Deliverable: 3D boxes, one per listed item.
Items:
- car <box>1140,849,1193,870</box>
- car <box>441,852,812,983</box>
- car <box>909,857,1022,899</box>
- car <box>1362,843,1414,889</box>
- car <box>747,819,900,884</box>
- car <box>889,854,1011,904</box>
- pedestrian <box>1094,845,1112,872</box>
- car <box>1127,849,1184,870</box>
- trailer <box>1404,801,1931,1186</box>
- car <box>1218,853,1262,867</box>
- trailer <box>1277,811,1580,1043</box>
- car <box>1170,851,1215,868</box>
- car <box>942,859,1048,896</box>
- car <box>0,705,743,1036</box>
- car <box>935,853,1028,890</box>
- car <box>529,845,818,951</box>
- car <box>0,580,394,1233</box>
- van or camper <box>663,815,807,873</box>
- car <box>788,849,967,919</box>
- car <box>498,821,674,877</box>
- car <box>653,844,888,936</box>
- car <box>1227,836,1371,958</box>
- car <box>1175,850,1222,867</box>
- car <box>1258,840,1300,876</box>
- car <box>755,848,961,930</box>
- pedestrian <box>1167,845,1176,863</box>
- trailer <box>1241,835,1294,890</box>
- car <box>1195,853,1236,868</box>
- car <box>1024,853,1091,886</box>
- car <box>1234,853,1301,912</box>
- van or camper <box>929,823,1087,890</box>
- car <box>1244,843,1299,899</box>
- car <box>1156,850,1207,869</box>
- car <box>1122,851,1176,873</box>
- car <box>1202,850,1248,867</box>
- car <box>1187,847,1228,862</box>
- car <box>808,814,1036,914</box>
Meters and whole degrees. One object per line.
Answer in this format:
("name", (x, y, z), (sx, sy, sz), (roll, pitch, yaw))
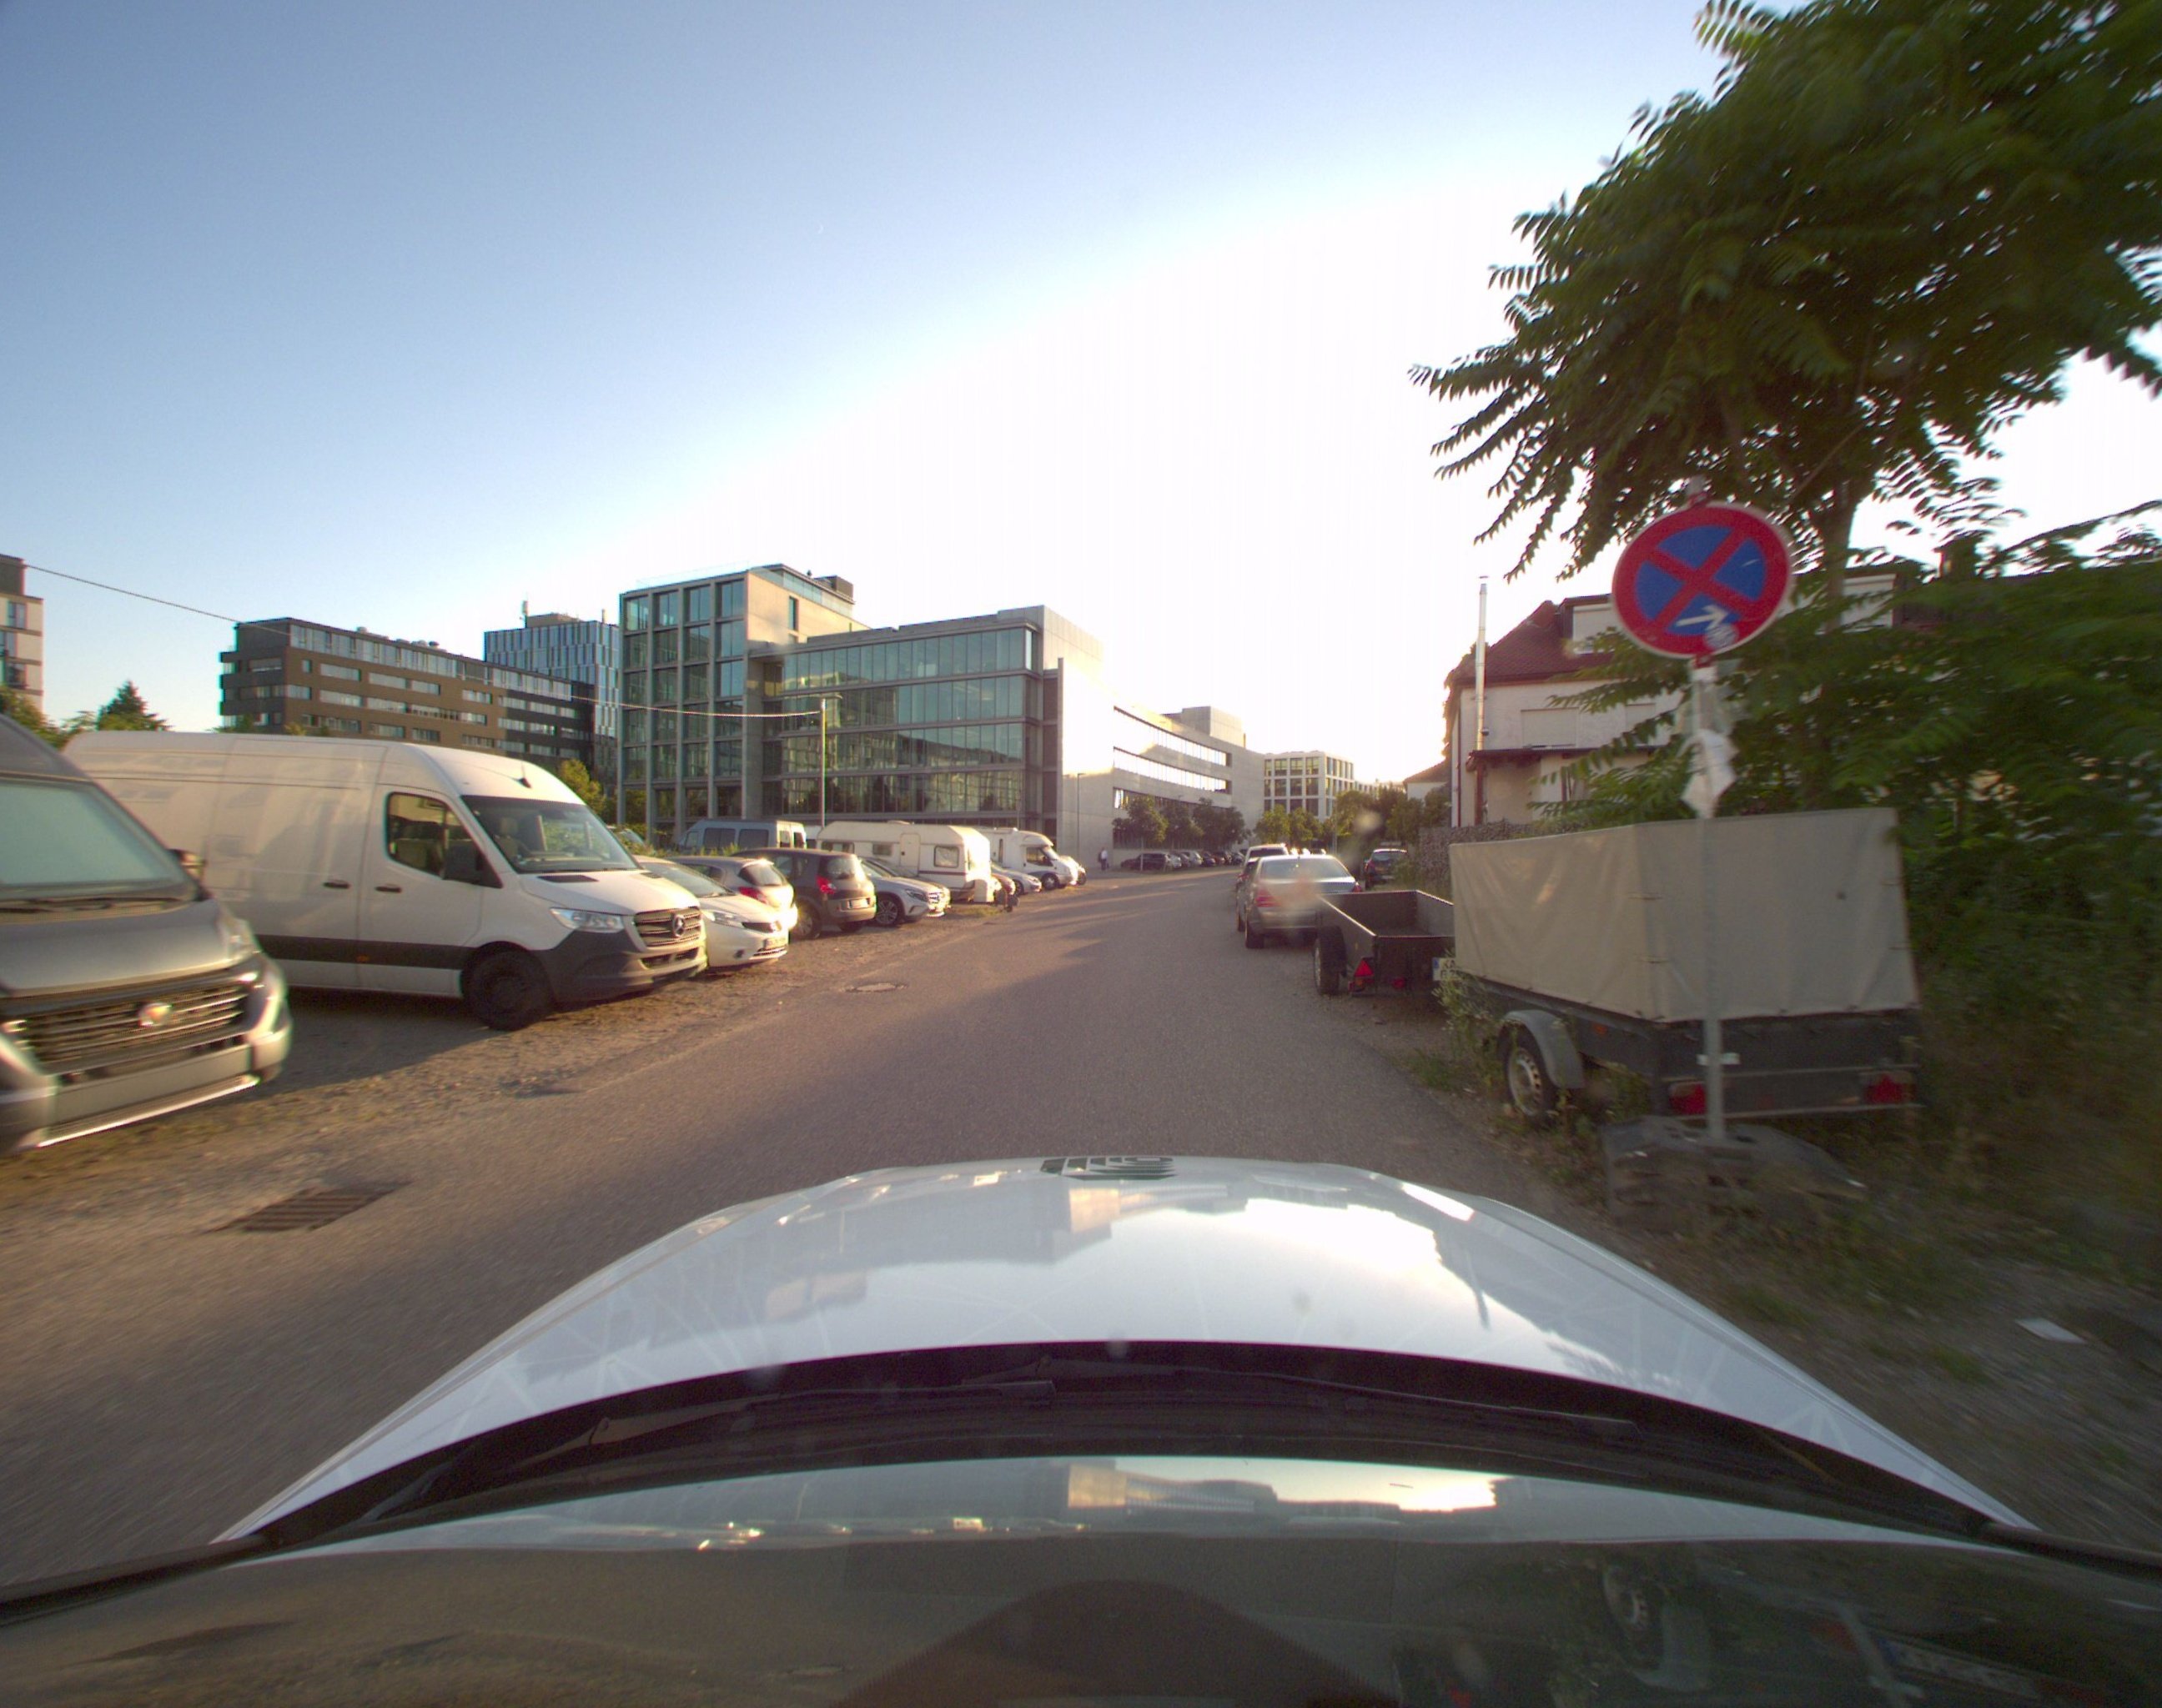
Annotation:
("car", (6.827, 0.423, 65.149), (3.967, 1.512, 1.592), (1, 2, 16))
("car", (-5.829, 0.758, 10.725), (3.905, 1.507, 1.793), (1, 0, 6))
("car", (-4.139, 0.847, 29.527), (3.705, 1.367, 1.709), (1, 0, 7))
("car", (11.058, 0.467, 29.330), (1.622, 1.519, 3.922), (-1, -2, 21))
("car", (-11.433, -0.129, 36.244), (6.195, 2.673, 2.232), (1, 0, 16))
("car", (-4.318, 0.808, 27.156), (3.608, 1.519, 1.709), (1, 0, 7))
("pedestrian", (1.536, 0.307, 57.245), (0.906, 1.850, 0.847), (-1, 0, -36))
("car", (5.766, 0.435, 63.109), (4.055, 1.528, 1.854), (1, 0, 16))
("trailer", (3.142, 0.623, 5.002), (1.245, 1.665, 2.804), (-2, 0, 2))
("car", (17.489, 0.682, 89.435), (4.392, 1.464, 1.774), (0, 0, 28))
("trailer", (3.292, 0.580, 8.830), (1.721, 1.777, 4.947), (-2, 0, 8))
("car", (9.742, 0.468, 71.145), (3.604, 1.361, 1.694), (1, 1, 18))
("car", (-3.340, 0.891, 31.931), (3.785, 1.328, 1.697), (1, 0, 9))
("car", (-6.772, 0.101, 8.214), (5.800, 2.713, 2.053), (2, 0, 4))
("car", (-4.220, 0.728, 34.813), (3.586, 1.476, 1.696), (1, 0, 6))
("car", (-6.654, 0.692, 13.546), (3.905, 1.591, 1.751), (1, -1, 6))
("car", (-7.650, 0.133, 4.128), (6.366, 2.713, 2.113), (2, -1, 0))
("van or camper", (-12.057, -0.361, 28.468), (4.305, 1.891, 1.940), (1, 0, 14))
("car", (-5.243, 0.747, 21.217), (4.102, 1.591, 1.752), (2, -1, 9))
("car", (-14.484, -0.166, 23.874), (4.332, 1.476, 1.991), (1, 0, 17))
("car", (-5.922, 0.627, 15.678), (3.897, 1.591, 1.755), (1, 0, 14))
("car", (3.615, 0.630, 14.331), (1.796, 1.724, 4.939), (-2, 0, 8))
("car", (10.760, 0.386, 74.517), (3.836, 1.511, 1.769), (1, 1, 23))
("car", (12.449, 0.237, 51.073), (2.048, 2.095, 4.896), (-1, 0, 19))
("car", (-4.992, 0.726, 18.392), (4.097, 1.590, 1.755), (2, 0, 14))
("pedestrian", (9.119, -0.013, 81.816), (0.640, 1.784, 0.729), (1, 0, 22))
("trailer", (8.113, 0.346, 35.649), (2.050, 2.211, 5.240), (-1, 0, 12))
("car", (13.504, 0.646, 81.871), (3.669, 1.458, 1.689), (0, 0, 25))
("car", (-1.084, 0.770, 40.593), (1.672, 1.519, 4.384), (1, 0, 22))
("car", (5.431, 0.752, 23.399), (1.692, 1.519, 4.104), (-1, 0, 15))
("van or camper", (-3.287, 0.084, 37.213), (6.696, 2.897, 2.416), (1, 0, 11))
("car", (6.891, 0.569, 29.373), (1.758, 1.831, 4.424), (-1, 0, 14))
("car", (8.587, 0.429, 69.771), (3.952, 1.511, 1.769), (1, 1, 22))
("car", (5.039, 0.551, 60.352), (3.706, 1.482, 1.777), (1, 1, 16))
("car", (14.888, 0.480, 84.016), (4.270, 1.696, 1.907), (0, 0, 25))
("car", (12.404, 0.074, 80.048), (3.669, 1.458, 1.721), (0, 0, 23))
("car", (-4.499, 0.238, 23.418), (5.849, 2.533, 2.420), (2, 0, 12))
